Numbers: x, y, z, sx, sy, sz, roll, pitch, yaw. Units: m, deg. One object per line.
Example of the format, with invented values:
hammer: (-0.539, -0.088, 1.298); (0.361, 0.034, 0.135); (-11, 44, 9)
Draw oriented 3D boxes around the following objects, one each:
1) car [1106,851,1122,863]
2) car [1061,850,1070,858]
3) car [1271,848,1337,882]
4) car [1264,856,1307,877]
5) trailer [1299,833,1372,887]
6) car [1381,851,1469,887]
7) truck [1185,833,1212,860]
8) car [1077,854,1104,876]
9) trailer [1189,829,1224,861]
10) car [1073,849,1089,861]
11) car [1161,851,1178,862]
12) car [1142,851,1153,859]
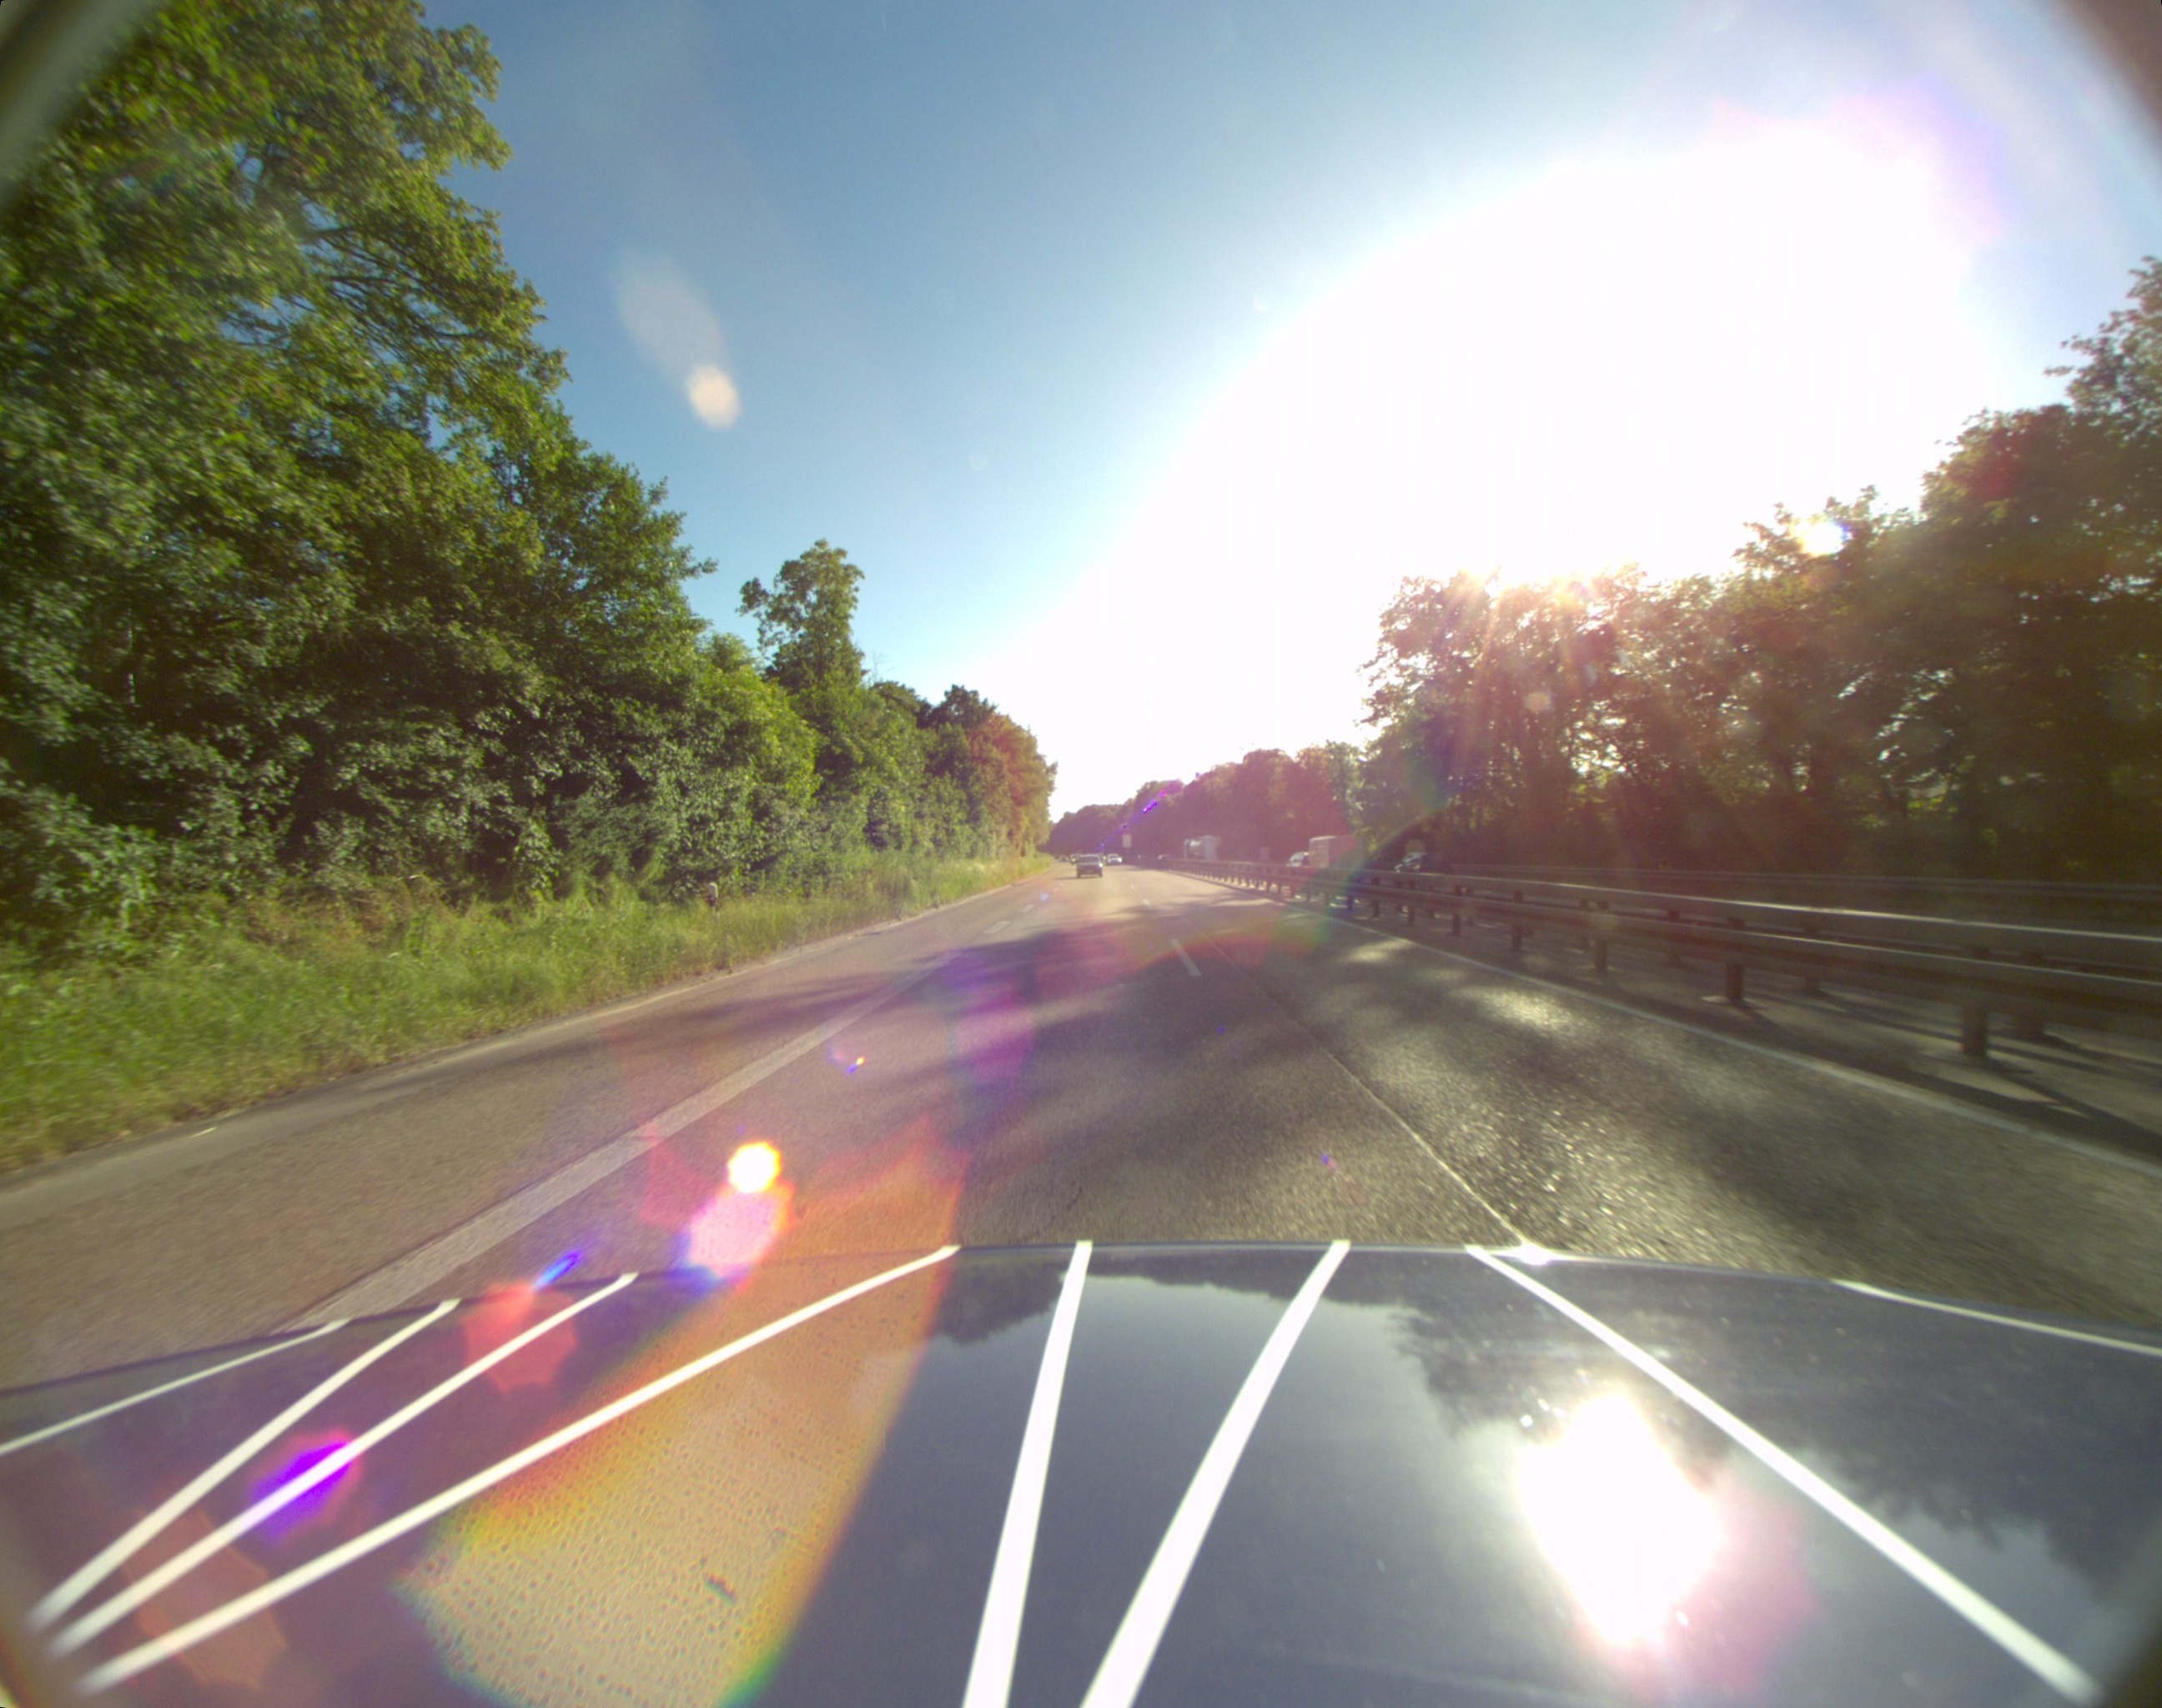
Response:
car: (4.287, 0.347, 99.113); (1.904, 1.453, 4.355); (-1, 0, -1)
car: (-3.661, -0.007, 181.955); (1.999, 1.761, 3.998); (-1, 0, -5)
car: (12.128, 0.549, 41.645); (2.076, 1.738, 5.224); (-1, 0, 0)
car: (15.697, 0.935, 58.619); (2.076, 1.458, 4.985); (-2, 0, 1)
trailer: (12.153, 0.258, 36.604); (1.998, 2.423, 4.606); (-1, 0, 0)
car: (16.674, 0.662, 37.116); (2.076, 1.604, 5.059); (-2, 0, 1)
truck: (16.606, -1.033, 107.831); (2.988, 3.609, 6.155); (-1, 0, 1)
car: (0.696, 0.748, 53.109); (1.800, 1.453, 4.356); (0, 0, 2)
trailer: (16.524, -1.167, 100.871); (3.060, 3.974, 10.973); (-1, 0, 1)
car: (-0.009, 0.159, 117.001); (1.999, 1.761, 3.998); (-1, 0, -5)
car: (12.409, 0.354, 106.570); (1.803, 1.458, 4.695); (0, 0, -1)
car: (12.434, 0.150, 141.874); (1.670, 1.458, 4.091); (-1, 0, -1)
